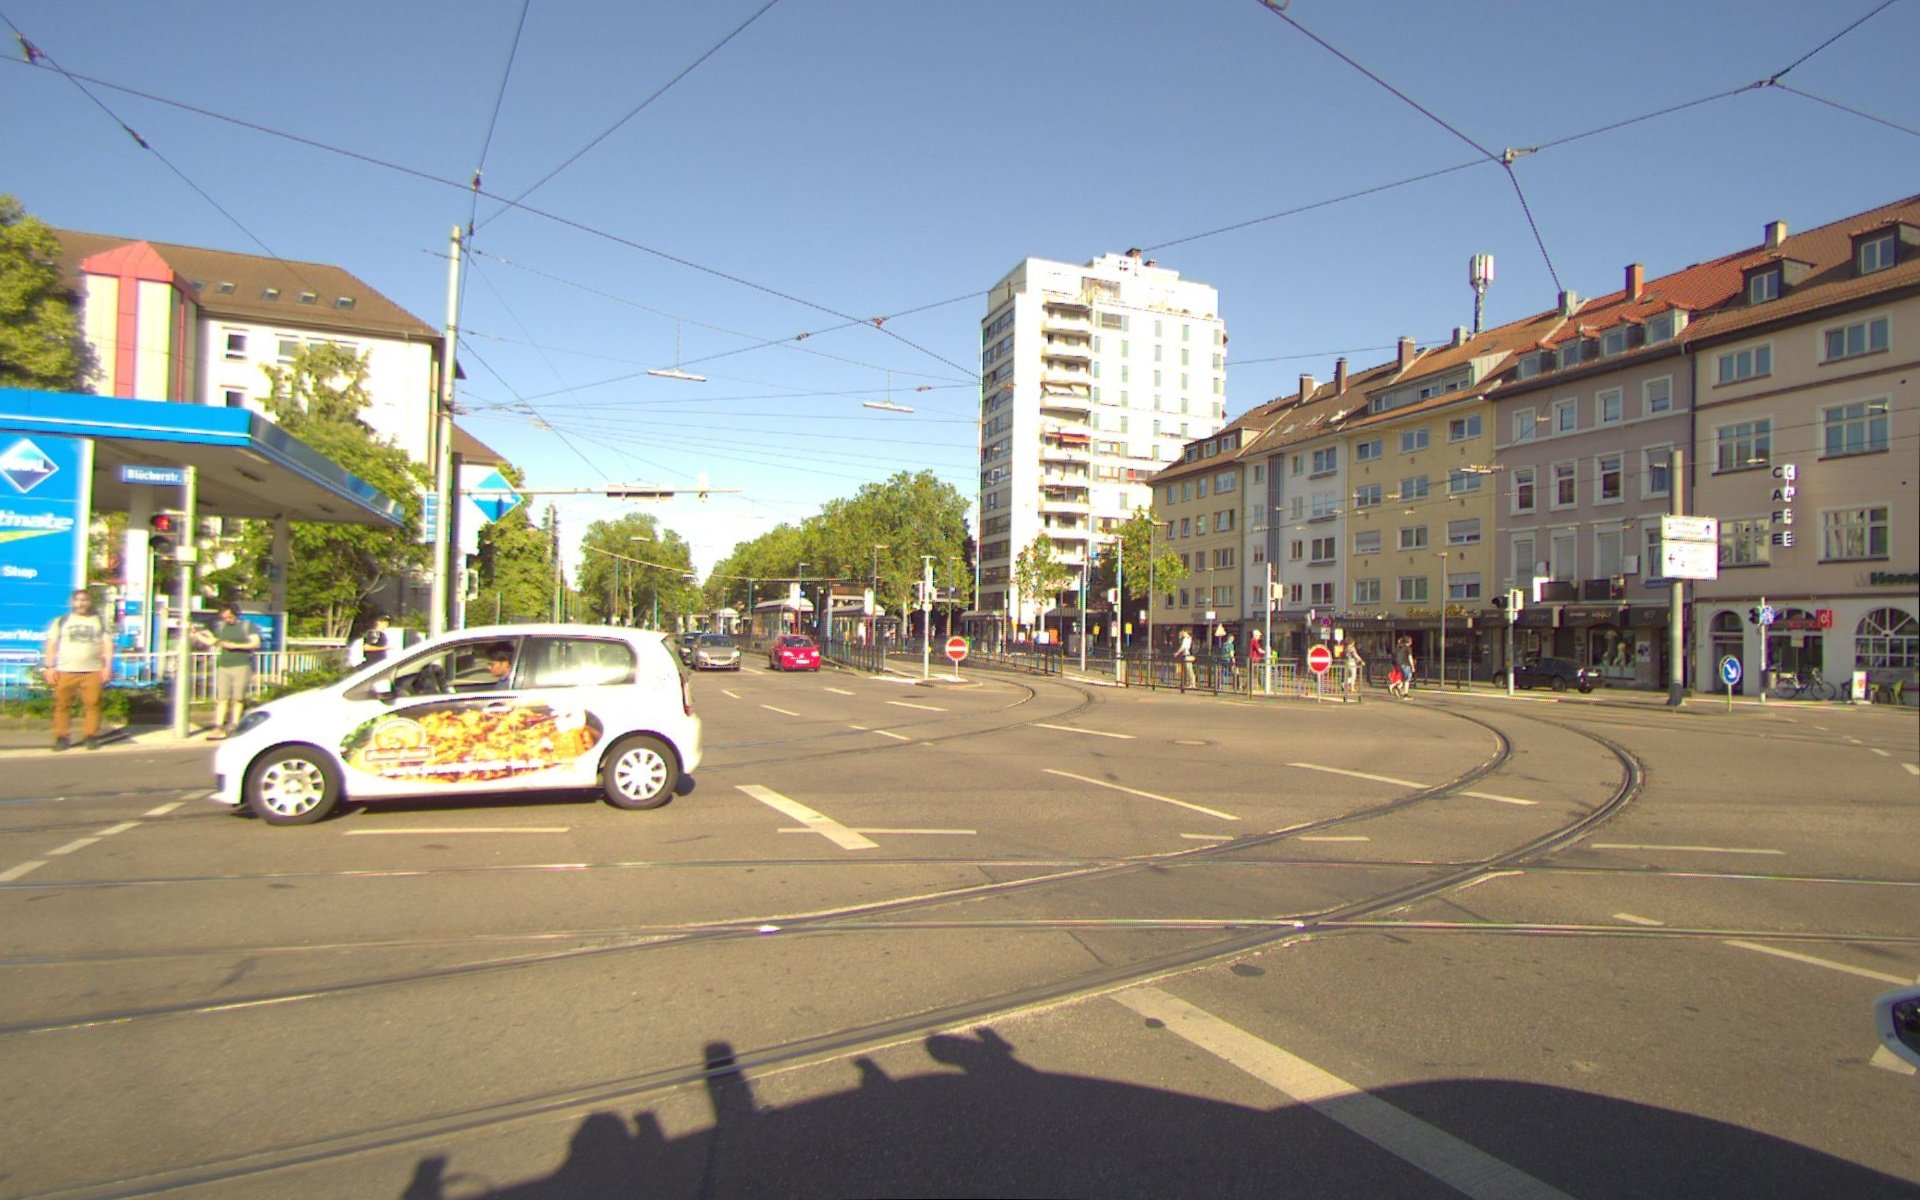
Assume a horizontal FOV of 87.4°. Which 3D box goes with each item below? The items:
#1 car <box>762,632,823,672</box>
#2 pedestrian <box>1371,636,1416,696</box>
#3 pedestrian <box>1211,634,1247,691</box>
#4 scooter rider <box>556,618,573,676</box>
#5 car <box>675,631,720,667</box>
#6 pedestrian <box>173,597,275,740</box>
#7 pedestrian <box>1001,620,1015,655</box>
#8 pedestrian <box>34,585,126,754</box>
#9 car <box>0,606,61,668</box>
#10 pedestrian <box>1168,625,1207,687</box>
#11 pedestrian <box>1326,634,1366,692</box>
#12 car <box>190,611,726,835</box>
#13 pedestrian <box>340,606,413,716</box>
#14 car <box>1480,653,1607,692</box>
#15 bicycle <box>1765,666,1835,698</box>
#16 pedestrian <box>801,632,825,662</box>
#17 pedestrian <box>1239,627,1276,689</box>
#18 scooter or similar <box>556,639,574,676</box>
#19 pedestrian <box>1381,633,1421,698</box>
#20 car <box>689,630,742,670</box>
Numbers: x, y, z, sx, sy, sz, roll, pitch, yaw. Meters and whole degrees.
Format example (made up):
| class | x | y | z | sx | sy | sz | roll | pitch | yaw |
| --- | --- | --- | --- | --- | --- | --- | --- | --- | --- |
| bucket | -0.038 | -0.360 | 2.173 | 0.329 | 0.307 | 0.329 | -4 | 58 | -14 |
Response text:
| class | x | y | z | sx | sy | sz | roll | pitch | yaw |
| --- | --- | --- | --- | --- | --- | --- | --- | --- | --- |
| car | -6.925 | 2.115 | 41.335 | 1.691 | 1.505 | 4.200 | 2 | -2 | -20 |
| pedestrian | 12.841 | 1.952 | 29.792 | 0.892 | 1.756 | 0.836 | 2 | -2 | -22 |
| pedestrian | 8.007 | 1.843 | 29.966 | 0.792 | 1.652 | 0.865 | 2 | -2 | -3 |
| scooter rider | -13.404 | 1.584 | 34.080 | 0.457 | 1.926 | 0.689 | 2 | -2 | -19 |
| car | -12.235 | 2.255 | 46.722 | 1.715 | 1.539 | 3.984 | 2 | -2 | -19 |
| pedestrian | -9.761 | 0.891 | 13.350 | 0.726 | 1.825 | 0.743 | 1 | -1 | 4 |
| pedestrian | 2.229 | 1.727 | 46.311 | 0.584 | 1.589 | 0.731 | 2 | -2 | 1 |
| pedestrian | -10.516 | 0.815 | 12.022 | 0.575 | 1.951 | 0.628 | 2 | -2 | -20 |
| car | -24.378 | 0.899 | 24.842 | 1.691 | 1.505 | 4.200 | 2 | -2 | -20 |
| pedestrian | 6.560 | 1.609 | 28.950 | 0.812 | 1.756 | 0.784 | 0 | -2 | 44 |
| pedestrian | 11.924 | 1.946 | 31.028 | 0.811 | 1.756 | 0.785 | 2 | -2 | -21 |
| car | -3.850 | 0.904 | 8.252 | 3.531 | 1.516 | 1.715 | 2 | -2 | -22 |
| pedestrian | -9.565 | 0.986 | 16.488 | 0.720 | 1.751 | 0.747 | 1 | -2 | -5 |
| car | 25.061 | 3.082 | 43.331 | 1.719 | 1.458 | 4.630 | 2 | -2 | -22 |
| bicycle | 31.248 | 3.038 | 37.405 | 0.576 | 1.081 | 1.936 | 2 | -2 | -27 |
| pedestrian | -7.238 | 2.305 | 49.474 | 1.031 | 1.439 | 0.575 | 2 | -2 | -25 |
| pedestrian | 8.639 | 1.684 | 29.227 | 0.831 | 1.746 | 0.826 | 1 | -2 | 2 |
| scooter or similar | -13.408 | 1.945 | 34.084 | 0.457 | 1.198 | 1.470 | 2 | -2 | -19 |
| pedestrian | 12.113 | 1.794 | 27.603 | 0.791 | 1.756 | 0.649 | 2 | -2 | -29 |
| car | -10.022 | 1.999 | 40.968 | 1.715 | 1.539 | 3.984 | 2 | -2 | -19 |
